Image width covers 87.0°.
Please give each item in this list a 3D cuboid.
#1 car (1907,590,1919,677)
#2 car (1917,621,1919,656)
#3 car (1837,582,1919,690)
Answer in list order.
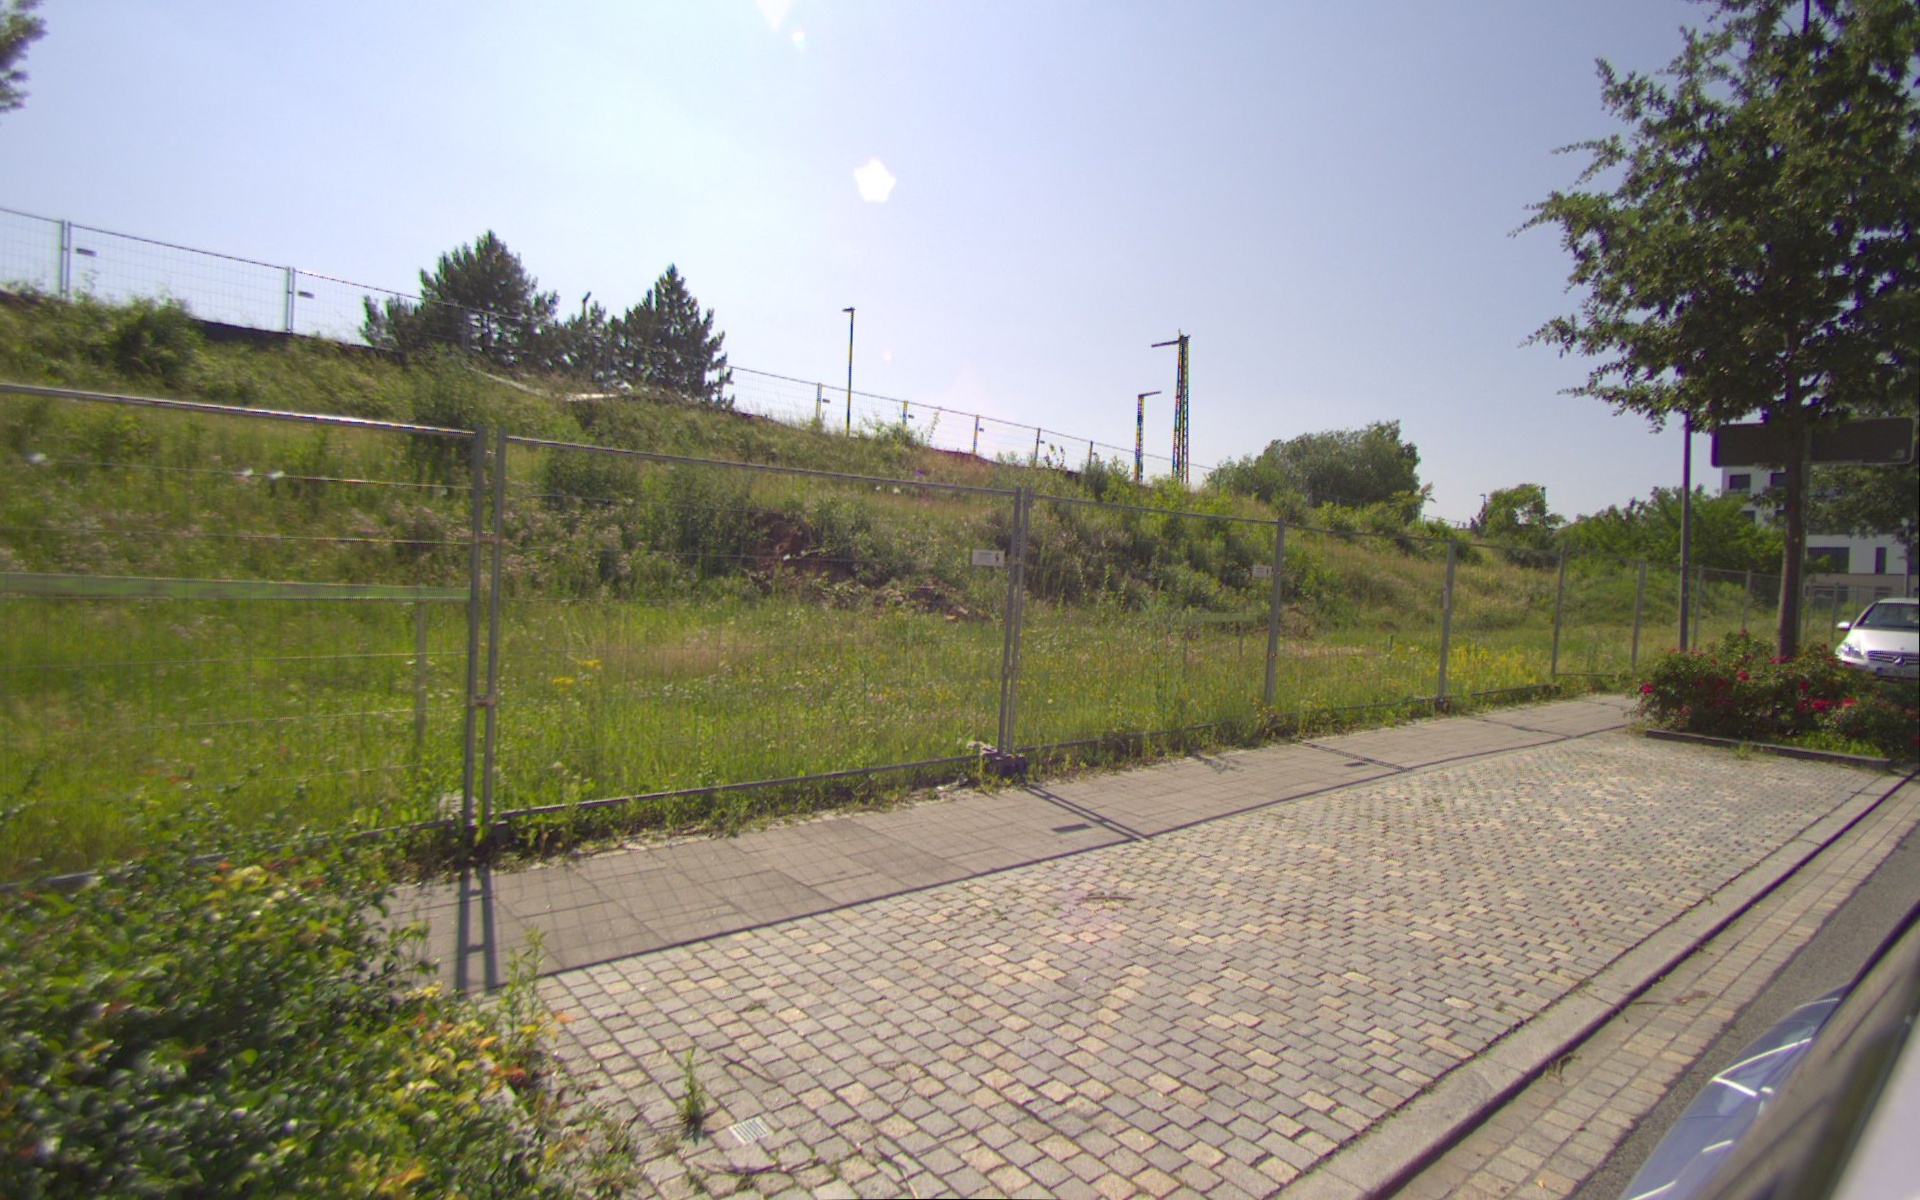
[{"bbox_3d":[20.053,0.710,19.730,3.930,1.636,1.847,1,3,-41],"label":"car"},{"bbox_3d":[25.222,0.624,24.998,3.930,1.636,1.846,1,3,-41],"label":"car"},{"bbox_3d":[16.581,0.620,17.215,4.293,1.635,1.847,1,3,-41],"label":"car"}]
